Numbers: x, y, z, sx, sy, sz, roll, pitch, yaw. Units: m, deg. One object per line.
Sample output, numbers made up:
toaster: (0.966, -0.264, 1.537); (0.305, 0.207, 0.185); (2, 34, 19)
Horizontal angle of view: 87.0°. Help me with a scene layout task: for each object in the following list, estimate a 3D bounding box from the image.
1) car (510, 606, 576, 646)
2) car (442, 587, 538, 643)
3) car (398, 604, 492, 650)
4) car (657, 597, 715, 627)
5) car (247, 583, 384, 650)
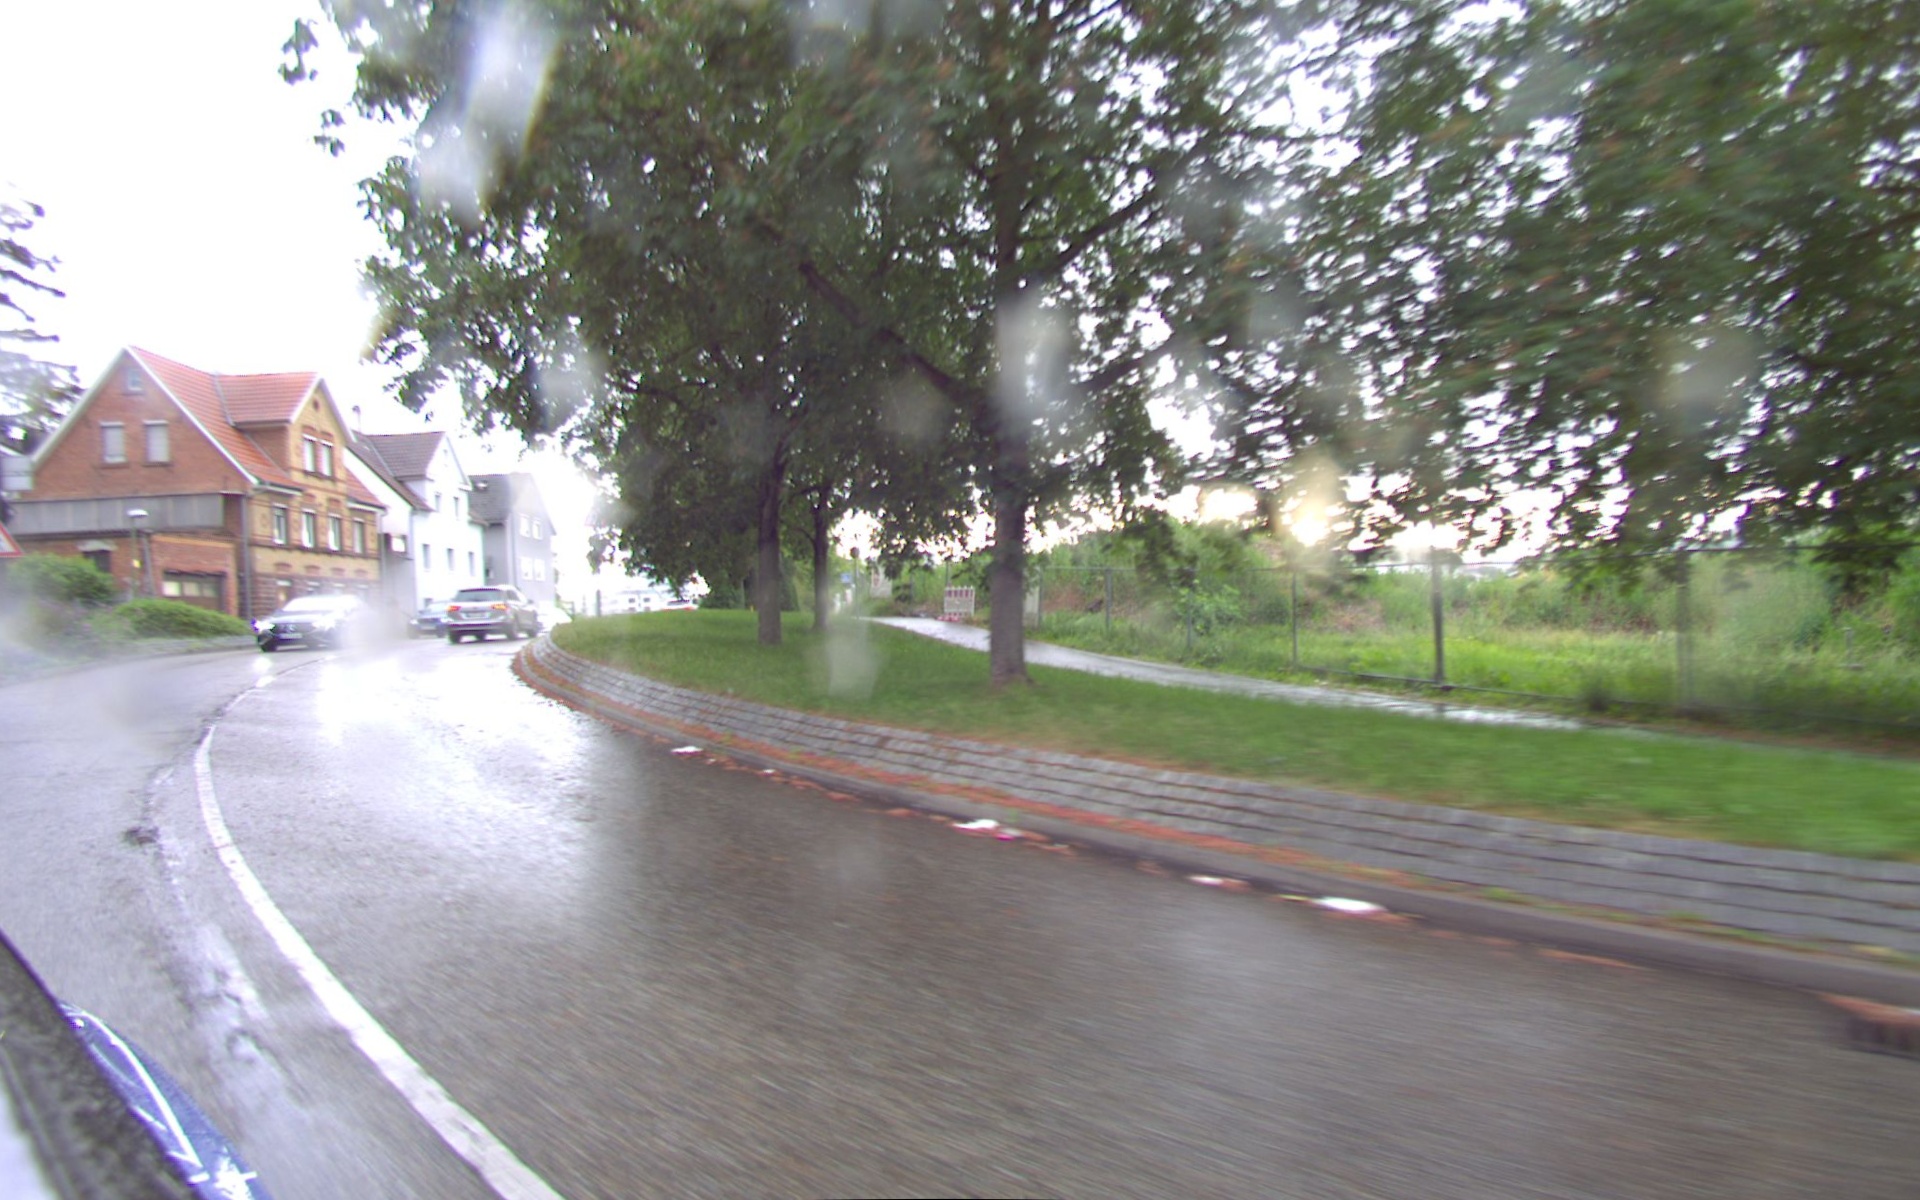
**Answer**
car: (-21.924, 1.432, 53.416); (1.872, 1.671, 4.951); (-4, -4, -7)
car: (-14.073, 0.425, 30.529); (1.705, 1.555, 4.310); (0, 0, -12)
car: (-19.304, 1.081, 38.169); (1.762, 1.357, 4.954); (-4, -4, -11)
car: (-14.785, 0.614, 54.742); (1.706, 1.516, 4.254); (-3, 0, 4)
car: (-17.756, 0.518, 28.160); (1.809, 1.525, 4.861); (-5, -2, -16)
